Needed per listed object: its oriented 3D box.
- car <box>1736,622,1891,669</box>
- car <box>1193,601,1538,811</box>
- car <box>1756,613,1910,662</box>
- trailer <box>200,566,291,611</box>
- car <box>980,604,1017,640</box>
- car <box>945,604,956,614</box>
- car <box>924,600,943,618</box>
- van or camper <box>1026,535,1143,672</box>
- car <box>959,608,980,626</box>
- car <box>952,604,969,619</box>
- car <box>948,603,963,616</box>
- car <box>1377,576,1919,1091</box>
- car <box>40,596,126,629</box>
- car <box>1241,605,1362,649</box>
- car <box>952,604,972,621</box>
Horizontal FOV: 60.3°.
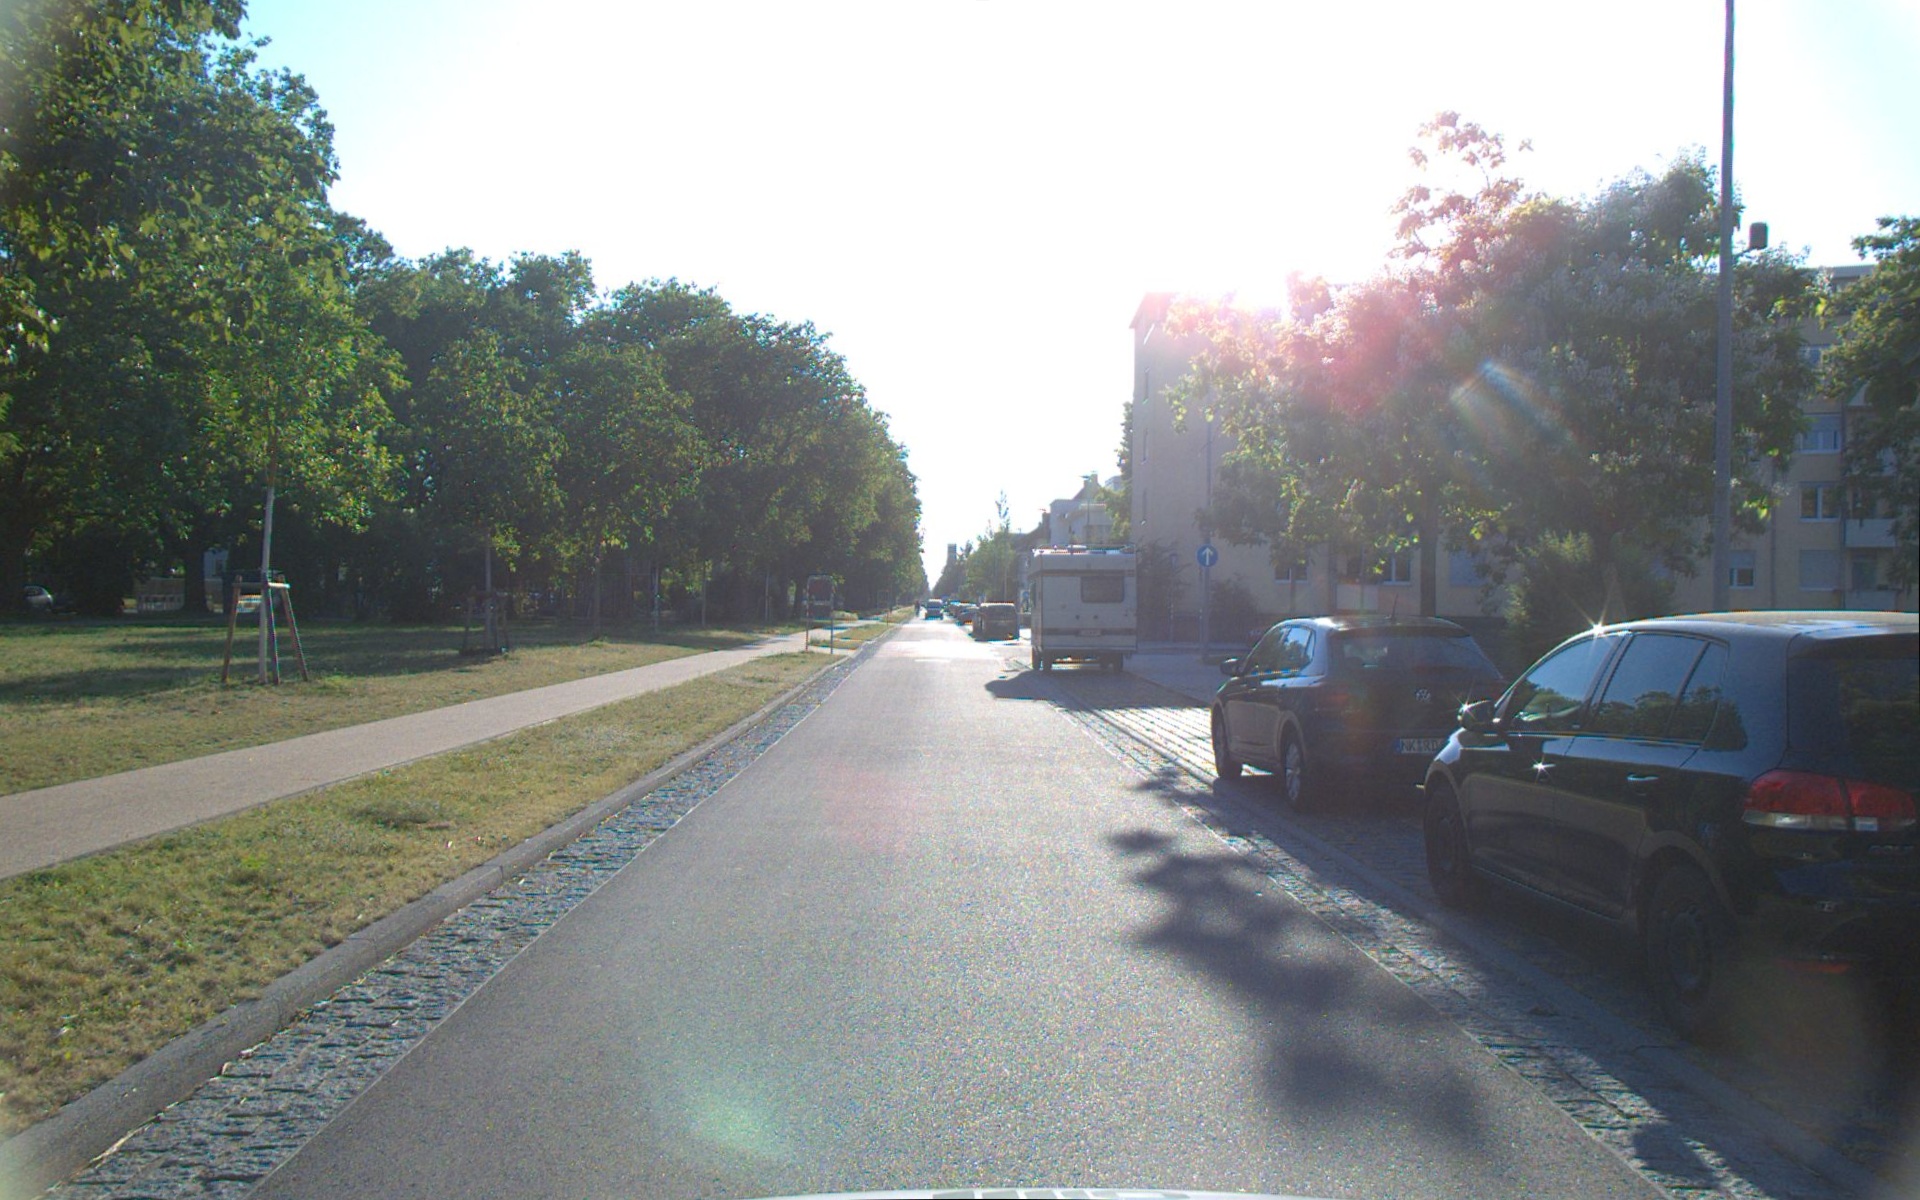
[{"bbox_3d":[26.546,1.392,51.593,4.108,1.381,1.693,0,-1,20],"label":"car"},{"bbox_3d":[3.196,0.779,13.909,1.594,1.490,4.245,1,-1,-4],"label":"car"},{"bbox_3d":[29.955,1.281,56.913,4.416,1.597,1.881,0,-1,18],"label":"car"},{"bbox_3d":[-42.721,-0.638,99.138,2.409,2.532,7.049,0,-1,0],"label":"trailer"},{"bbox_3d":[1.849,1.062,79.890,1.593,1.698,4.248,0,-1,-1],"label":"car"},{"bbox_3d":[-1.351,1.271,233.280,1.593,1.434,4.248,0,-1,-1],"label":"car"},{"bbox_3d":[-2.540,0.895,159.983,1.789,1.698,4.248,0,-1,-1],"label":"car"},{"bbox_3d":[2.817,0.144,38.711,2.189,2.955,5.670,0,-2,-1],"label":"van or camper"},{"bbox_3d":[0.729,1.352,133.346,1.593,1.434,4.248,0,-1,-1],"label":"car"},{"bbox_3d":[0.008,1.119,164.448,1.593,1.434,4.248,0,-1,-1],"label":"car"},{"bbox_3d":[-0.517,1.021,181.194,1.593,1.434,4.248,0,-1,-1],"label":"car"},{"bbox_3d":[3.323,0.743,7.328,1.697,1.578,4.420,0,-1,-2],"label":"car"},{"bbox_3d":[-42.520,0.611,80.320,1.953,1.534,4.115,0,-1,0],"label":"car"},{"bbox_3d":[12.478,0.983,60.679,4.107,1.557,2.001,0,-1,3],"label":"car"},{"bbox_3d":[0.158,1.074,145.155,1.593,1.434,4.248,0,-1,-1],"label":"car"}]
